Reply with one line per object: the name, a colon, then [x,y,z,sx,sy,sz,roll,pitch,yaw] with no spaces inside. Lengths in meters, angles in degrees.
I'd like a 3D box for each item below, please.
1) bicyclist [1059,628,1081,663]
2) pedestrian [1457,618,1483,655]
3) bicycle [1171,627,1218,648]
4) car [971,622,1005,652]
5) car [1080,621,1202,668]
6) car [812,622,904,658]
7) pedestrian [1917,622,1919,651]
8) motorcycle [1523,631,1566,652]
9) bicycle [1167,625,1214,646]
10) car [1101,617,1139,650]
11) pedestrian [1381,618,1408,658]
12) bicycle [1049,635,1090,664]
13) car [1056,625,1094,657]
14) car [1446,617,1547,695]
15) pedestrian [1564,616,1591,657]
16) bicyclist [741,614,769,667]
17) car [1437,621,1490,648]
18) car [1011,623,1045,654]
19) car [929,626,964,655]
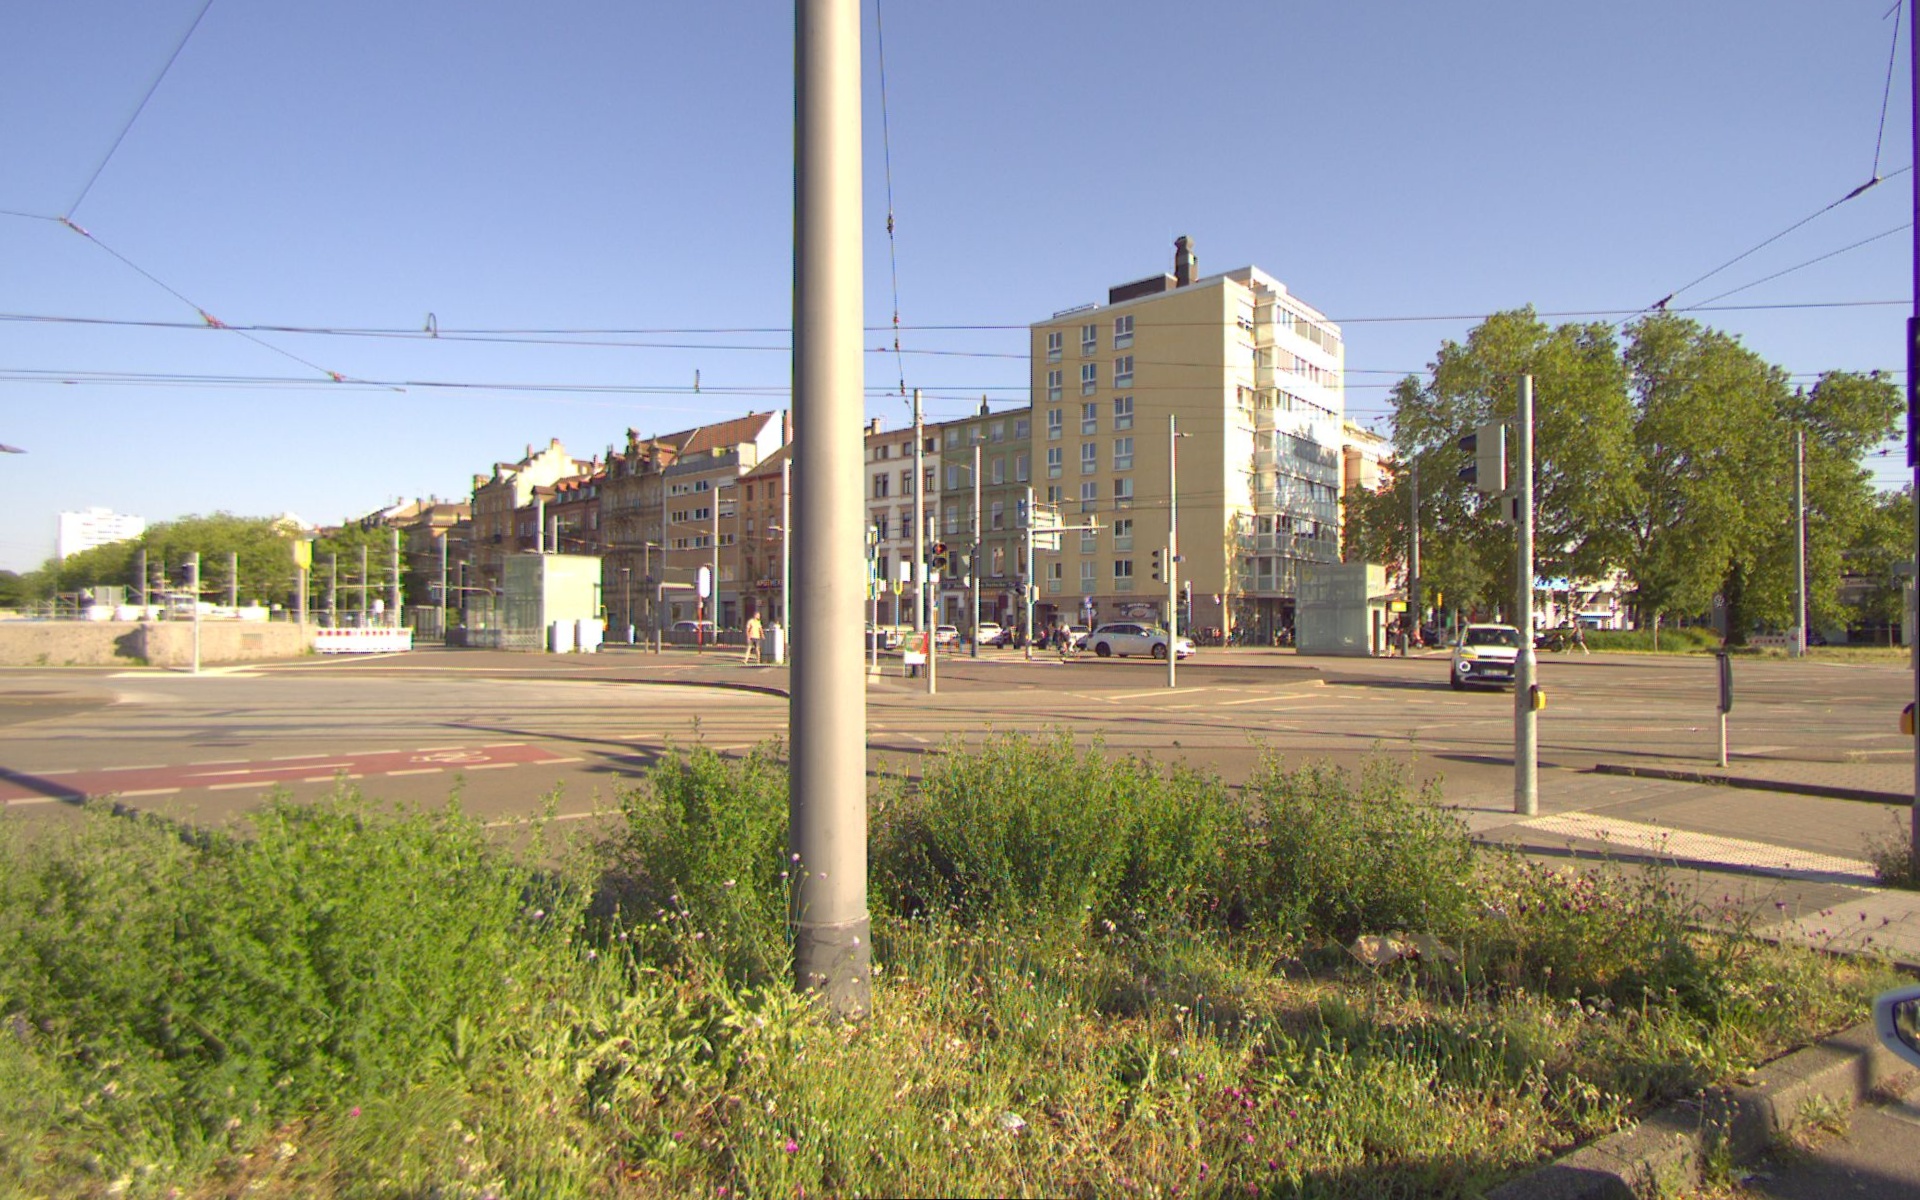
bicyclist: [4.451,1.830,40.661,0.617,1.368,0.658,2,0,44]
pedestrian: [24.661,1.766,48.572,0.747,1.728,0.793,2,0,-22]
bicycle: [14.867,2.379,63.720,3.003,1.167,0.637,1,0,44]
car: [1.819,2.312,63.961,1.960,1.728,4.001,2,0,4]
car: [7.432,1.811,41.567,4.644,1.684,1.780,2,0,37]
car: [-5.398,2.100,52.869,4.836,1.848,1.991,-1,-3,40]
pedestrian: [56.541,2.132,58.605,0.491,1.716,0.852,2,0,-32]
motorcycle: [29.141,2.058,50.108,1.753,0.926,0.676,2,0,41]
bicycle: [14.484,2.242,63.170,3.003,1.167,0.637,1,0,44]
car: [9.097,1.873,57.383,1.684,1.728,4.001,2,0,4]
pedestrian: [19.542,1.706,45.169,0.747,1.728,0.793,2,0,-22]
bicycle: [4.442,1.986,40.662,0.617,1.104,1.914,2,0,44]
car: [6.770,2.398,59.340,1.960,1.728,4.001,2,0,4]
car: [12.962,1.283,24.480,1.752,1.684,3.998,2,0,23]
pedestrian: [29.491,1.740,47.986,0.747,1.911,0.793,2,0,-22]
bicyclist: [-6.807,1.330,33.396,0.653,1.706,0.980,2,0,2]
car: [32.005,2.204,63.809,3.973,1.588,1.753,2,0,-44]
car: [4.163,2.314,61.510,1.960,1.728,4.001,2,0,4]
car: [-0.856,2.653,66.321,1.960,1.728,4.001,2,0,4]
